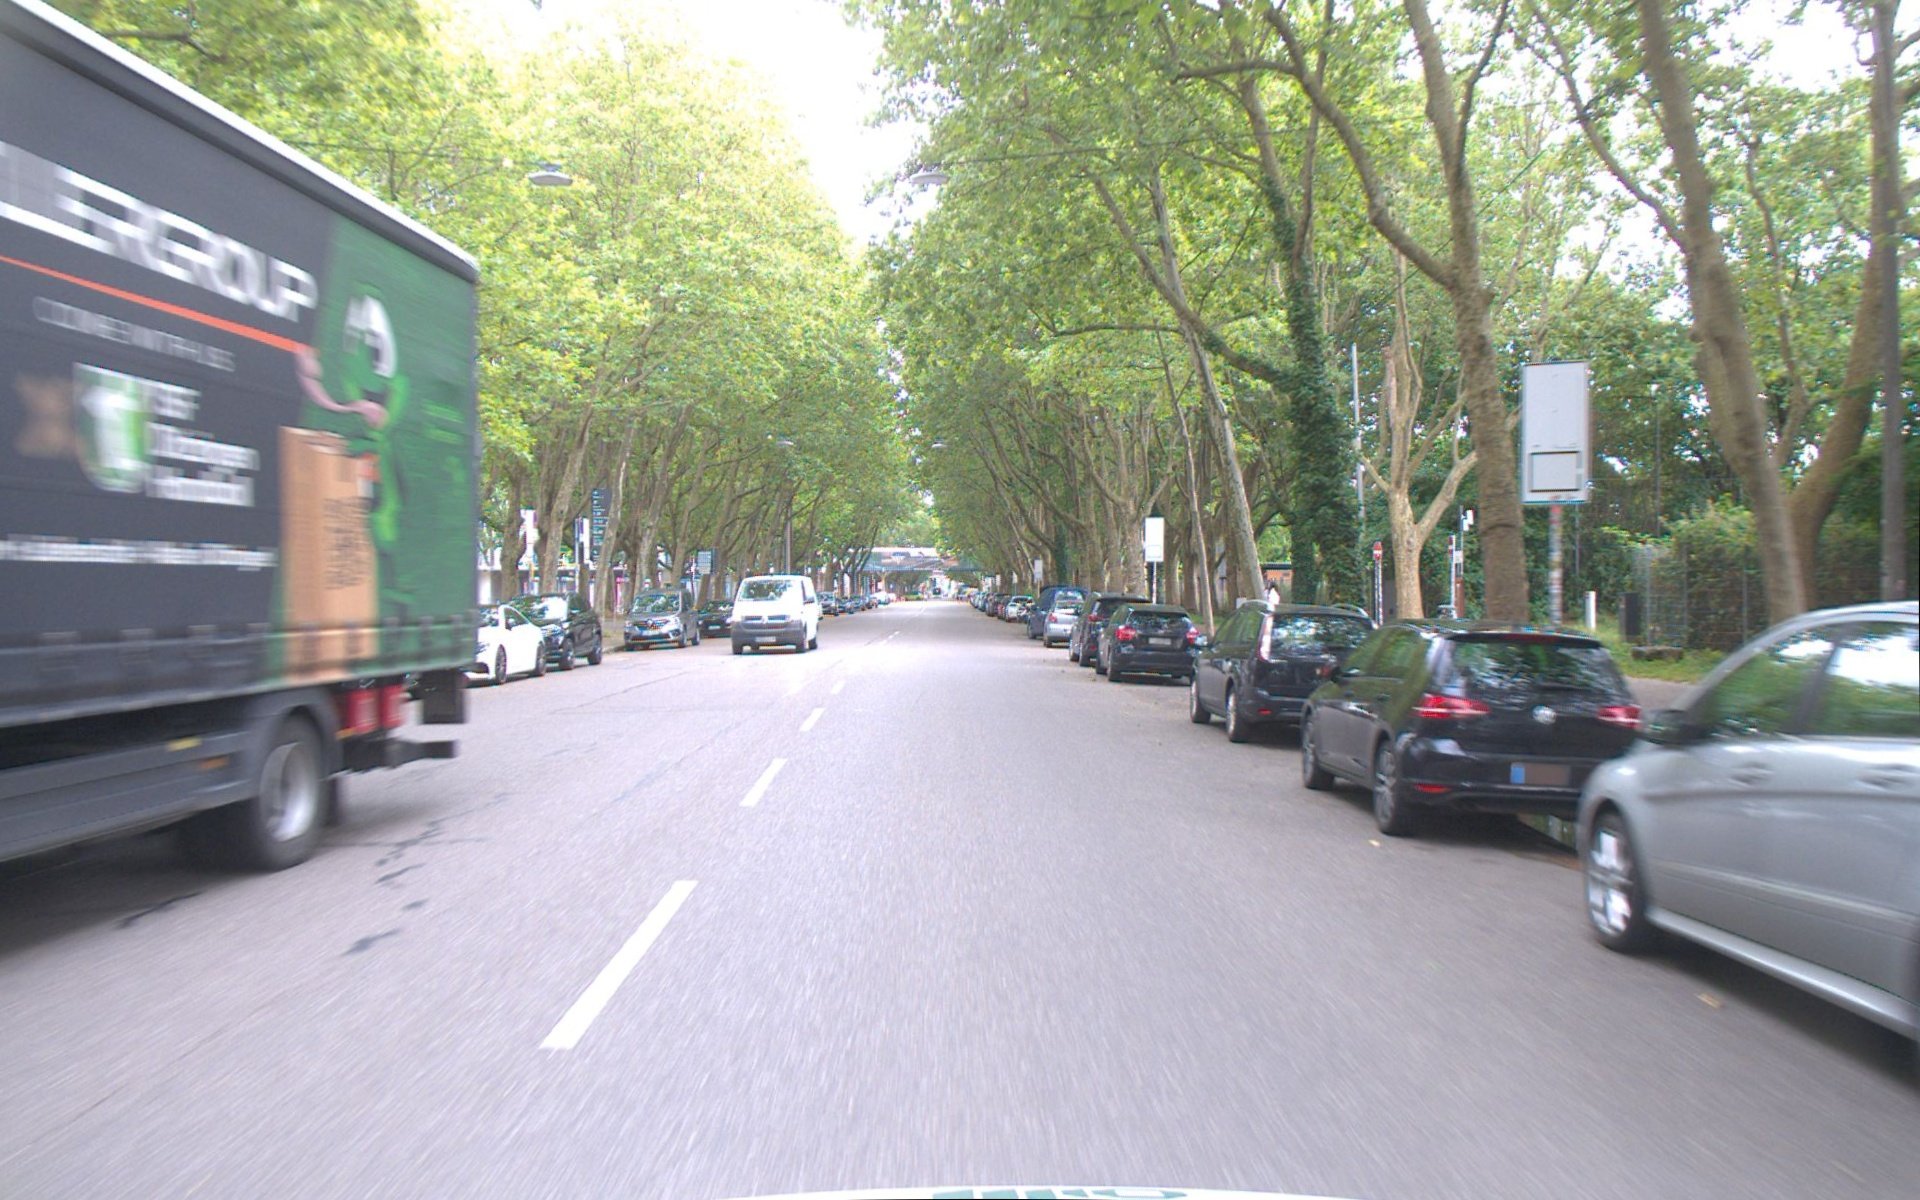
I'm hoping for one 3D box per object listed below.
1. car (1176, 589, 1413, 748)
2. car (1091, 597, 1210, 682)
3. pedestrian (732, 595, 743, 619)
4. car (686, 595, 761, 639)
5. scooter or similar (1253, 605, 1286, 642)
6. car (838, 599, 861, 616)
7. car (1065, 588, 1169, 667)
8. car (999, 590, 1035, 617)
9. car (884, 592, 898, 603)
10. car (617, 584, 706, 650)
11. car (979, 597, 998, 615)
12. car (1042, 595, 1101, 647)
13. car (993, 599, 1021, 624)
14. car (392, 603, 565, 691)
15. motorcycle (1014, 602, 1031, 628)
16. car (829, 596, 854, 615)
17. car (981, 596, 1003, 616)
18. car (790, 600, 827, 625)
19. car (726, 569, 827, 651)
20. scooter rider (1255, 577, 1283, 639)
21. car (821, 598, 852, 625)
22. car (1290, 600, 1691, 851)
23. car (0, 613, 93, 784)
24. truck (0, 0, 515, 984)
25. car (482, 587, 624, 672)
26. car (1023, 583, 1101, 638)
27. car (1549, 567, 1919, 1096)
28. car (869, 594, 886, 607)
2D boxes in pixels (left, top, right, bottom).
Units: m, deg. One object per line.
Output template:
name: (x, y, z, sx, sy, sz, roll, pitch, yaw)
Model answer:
car: (3.760, 0.699, 19.347, 1.741, 1.580, 4.395, 2, 0, -1)
car: (3.570, 0.709, 31.713, 1.739, 1.443, 4.287, 2, 0, 0)
pedestrian: (-15.978, 0.496, 118.672, 0.562, 1.772, 0.768, 0, 0, 14)
car: (-9.042, 0.617, 63.658, 2.041, 1.556, 5.146, -2, 0, 1)
scooter or similar: (9.304, 0.690, 49.837, 0.666, 1.056, 1.467, -3, 0, 0)
car: (-10.227, 0.663, 153.366, 1.839, 1.553, 4.150, -1, 0, 0)
car: (3.497, 0.574, 37.621, 1.792, 1.630, 4.466, 2, 0, -1)
car: (3.179, 0.179, 92.743, 1.700, 1.464, 4.121, 0, 0, -2)
car: (-10.878, -0.373, 260.122, 1.955, 1.629, 3.995, 0, 0, -6)
car: (-9.020, 0.497, 50.315, 1.857, 1.826, 4.611, -3, 0, -1)
car: (2.910, 0.613, 171.099, 1.864, 1.769, 4.506, 0, 0, 0)
car: (3.402, 0.618, 51.096, 1.585, 1.487, 3.946, 2, 0, 1)
car: (3.236, 0.759, 114.602, 1.720, 1.648, 4.438, 2, 0, 0)
car: (-8.744, 0.793, 30.471, 1.779, 1.386, 5.004, -2, 0, -1)
motorcycle: (3.292, 0.761, 87.533, 0.697, 1.355, 1.994, 0, 0, 8)
car: (-9.660, 0.432, 135.293, 1.689, 1.512, 4.574, 0, 0, 0)
car: (2.782, 0.527, 144.356, 1.673, 1.728, 4.629, 2, 0, -2)
car: (-9.516, 0.750, 103.983, 1.865, 1.427, 4.751, -3, 0, 0)
car: (-4.737, 0.223, 43.381, 2.017, 1.995, 5.465, -1, 0, 0)
scooter rider: (9.291, 0.227, 49.771, 0.662, 1.831, 0.587, -2, 0, -1)
car: (-8.721, 0.821, 117.226, 1.909, 1.781, 4.637, -2, 0, -1)
car: (3.752, 0.792, 12.482, 1.703, 1.496, 4.152, 2, 0, 1)
car: (-8.805, 0.885, 12.990, 1.673, 1.406, 4.330, -4, 0, -1)
truck: (-4.972, -0.495, 7.614, 2.849, 3.936, 9.469, -2, -1, 2)
car: (-8.630, 0.590, 35.429, 1.780, 1.621, 4.345, -3, 0, 2)
car: (3.560, 0.332, 58.701, 1.808, 1.814, 4.438, 2, 0, -9)
car: (3.876, 0.747, 6.239, 1.742, 1.645, 4.224, 2, 0, 0)
car: (-10.529, 0.057, 211.536, 2.031, 1.590, 4.756, 0, 0, 0)
